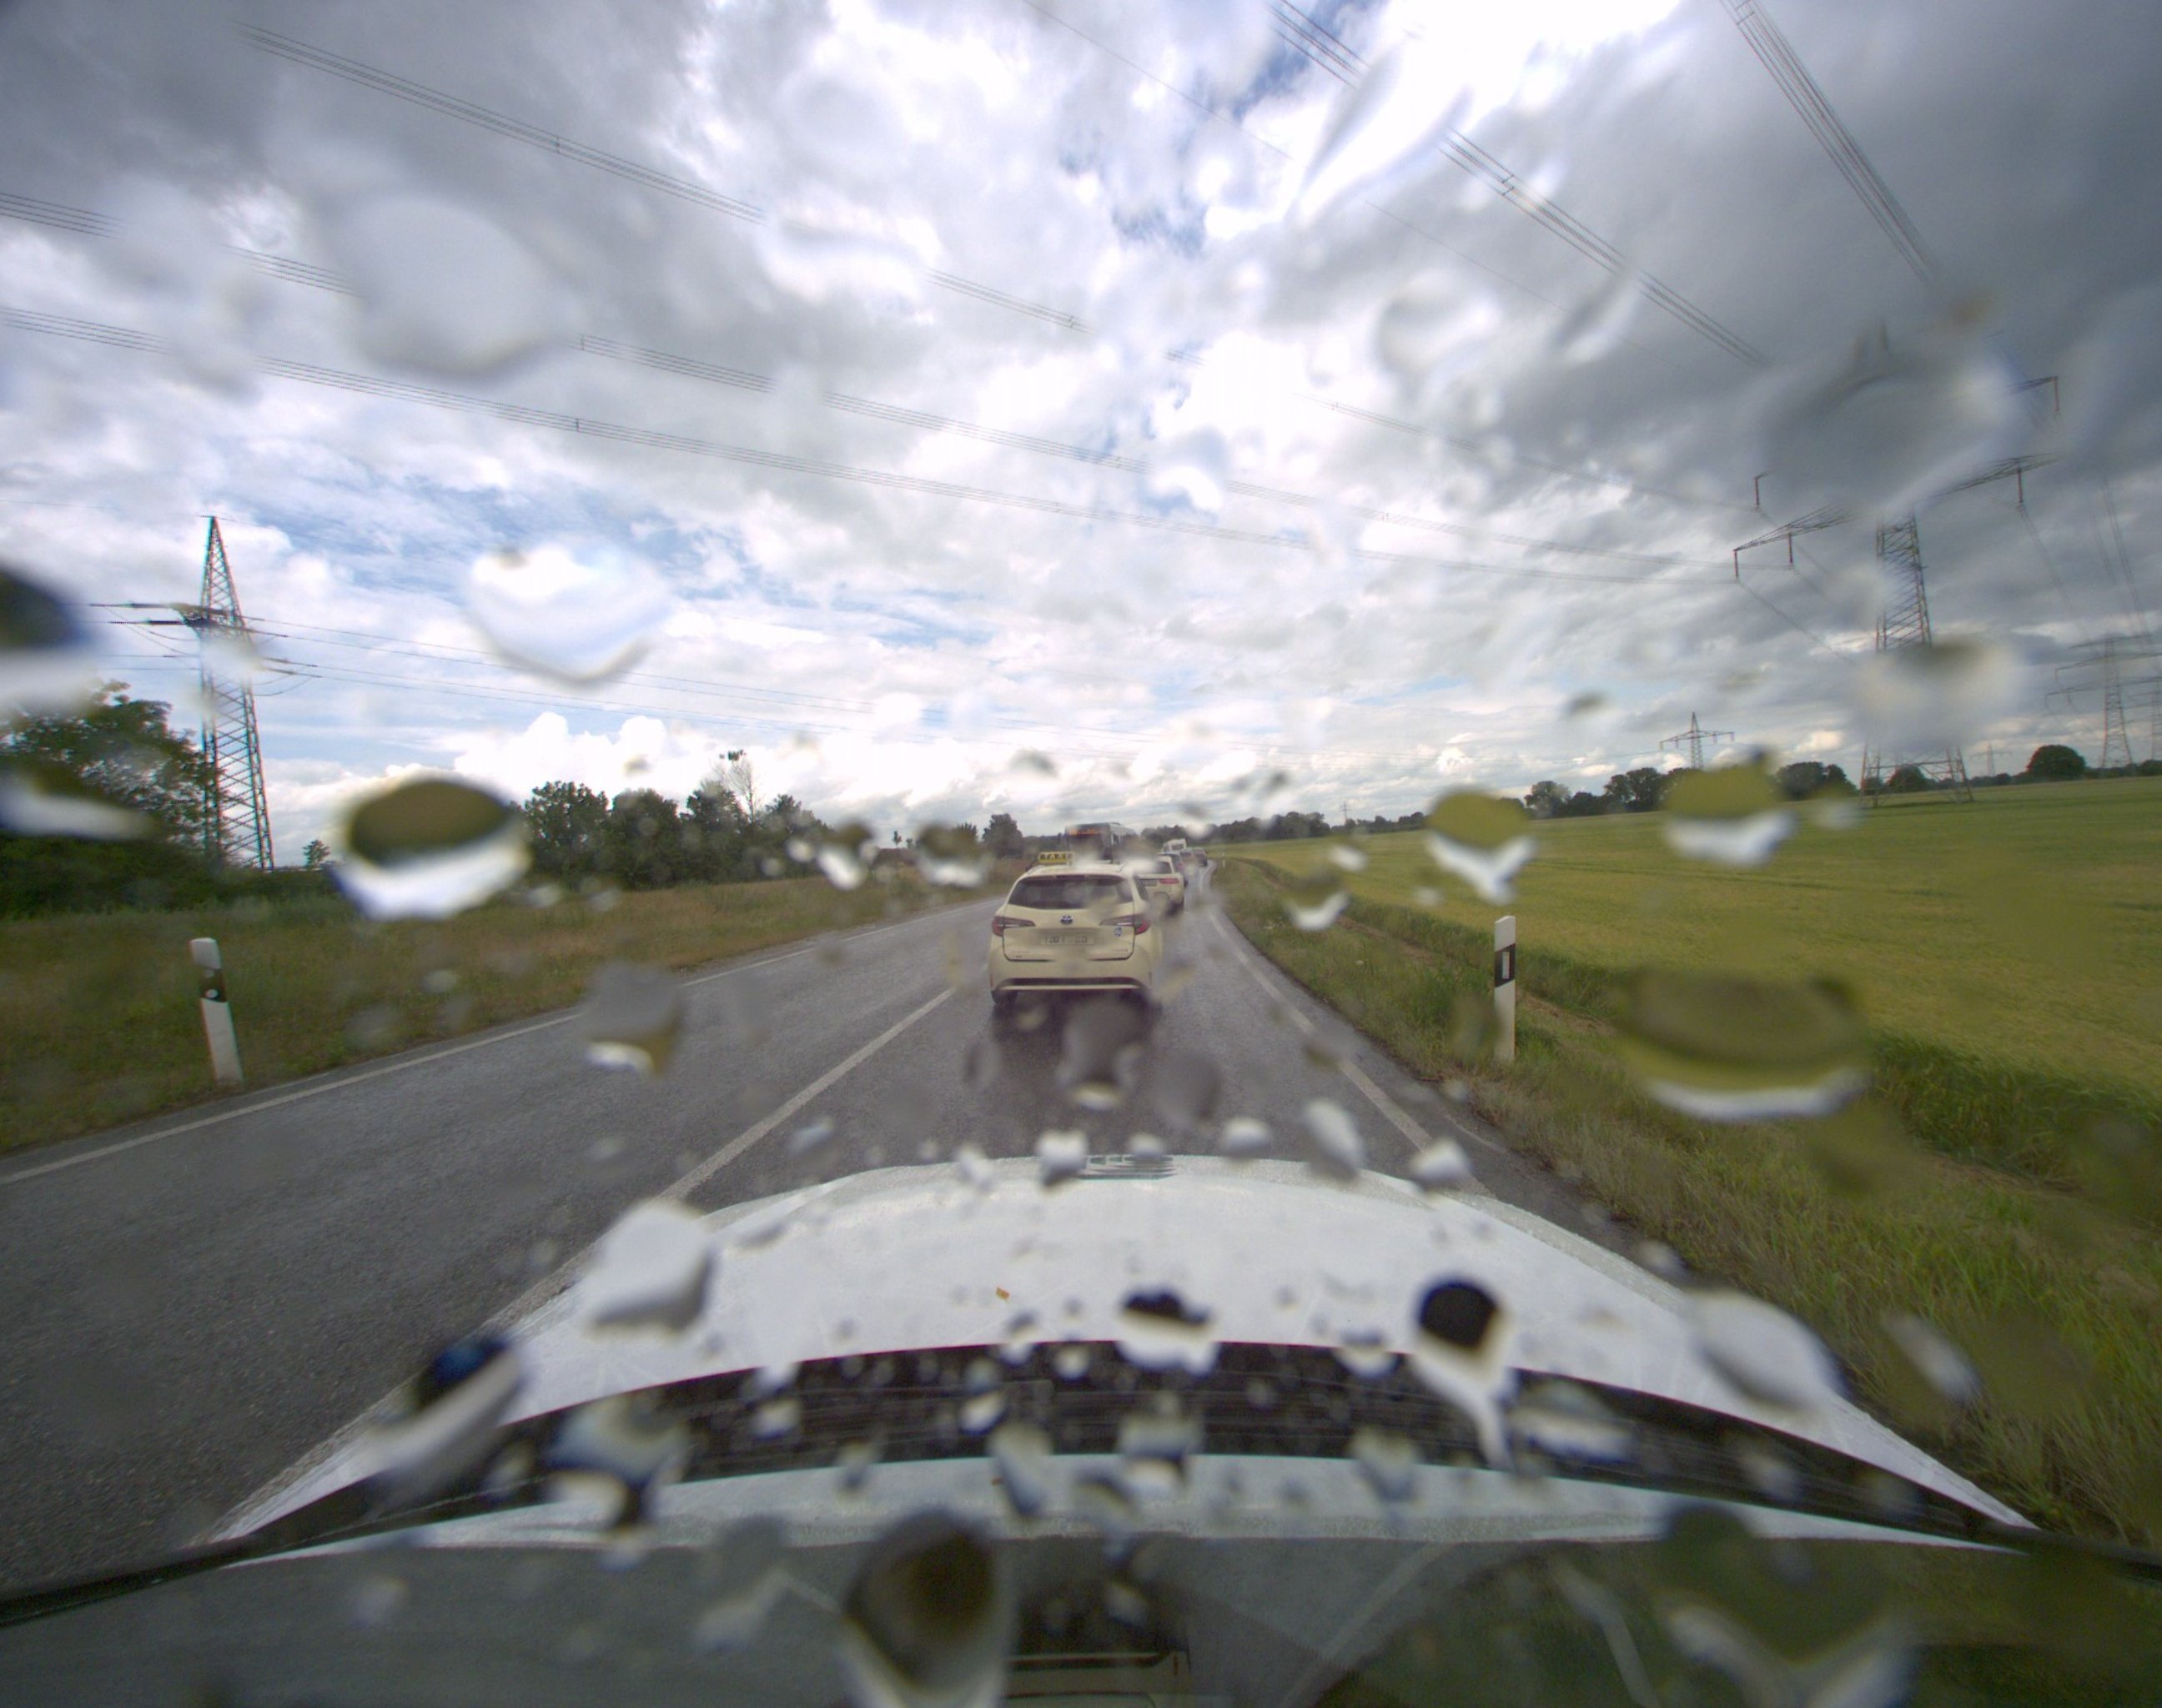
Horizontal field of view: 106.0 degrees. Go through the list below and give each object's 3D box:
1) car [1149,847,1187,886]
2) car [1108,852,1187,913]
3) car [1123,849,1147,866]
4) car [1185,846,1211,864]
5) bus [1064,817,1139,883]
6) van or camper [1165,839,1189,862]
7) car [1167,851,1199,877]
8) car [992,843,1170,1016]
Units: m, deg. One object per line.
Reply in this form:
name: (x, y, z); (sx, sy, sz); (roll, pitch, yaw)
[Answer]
car: (3.953, 0.564, 36.591); (1.604, 1.659, 3.745); (-1, -1, 7)
car: (1.933, 0.698, 22.368); (1.831, 1.492, 4.619); (-1, 0, 8)
car: (4.441, 0.303, 66.381); (1.710, 1.251, 4.006); (-1, -1, 6)
car: (9.501, 0.114, 65.914); (1.948, 1.413, 4.404); (-1, -1, 10)
bus: (1.465, -0.218, 48.206); (2.742, 3.298, 12.533); (-1, 0, 9)
van or camper: (12.545, -0.487, 106.764); (2.527, 2.896, 6.744); (-1, 0, 1)
car: (5.890, 0.562, 46.875); (1.603, 1.413, 3.749); (-1, -1, 10)
car: (0.139, 0.730, 9.336); (1.605, 1.562, 3.742); (-1, -1, 4)
